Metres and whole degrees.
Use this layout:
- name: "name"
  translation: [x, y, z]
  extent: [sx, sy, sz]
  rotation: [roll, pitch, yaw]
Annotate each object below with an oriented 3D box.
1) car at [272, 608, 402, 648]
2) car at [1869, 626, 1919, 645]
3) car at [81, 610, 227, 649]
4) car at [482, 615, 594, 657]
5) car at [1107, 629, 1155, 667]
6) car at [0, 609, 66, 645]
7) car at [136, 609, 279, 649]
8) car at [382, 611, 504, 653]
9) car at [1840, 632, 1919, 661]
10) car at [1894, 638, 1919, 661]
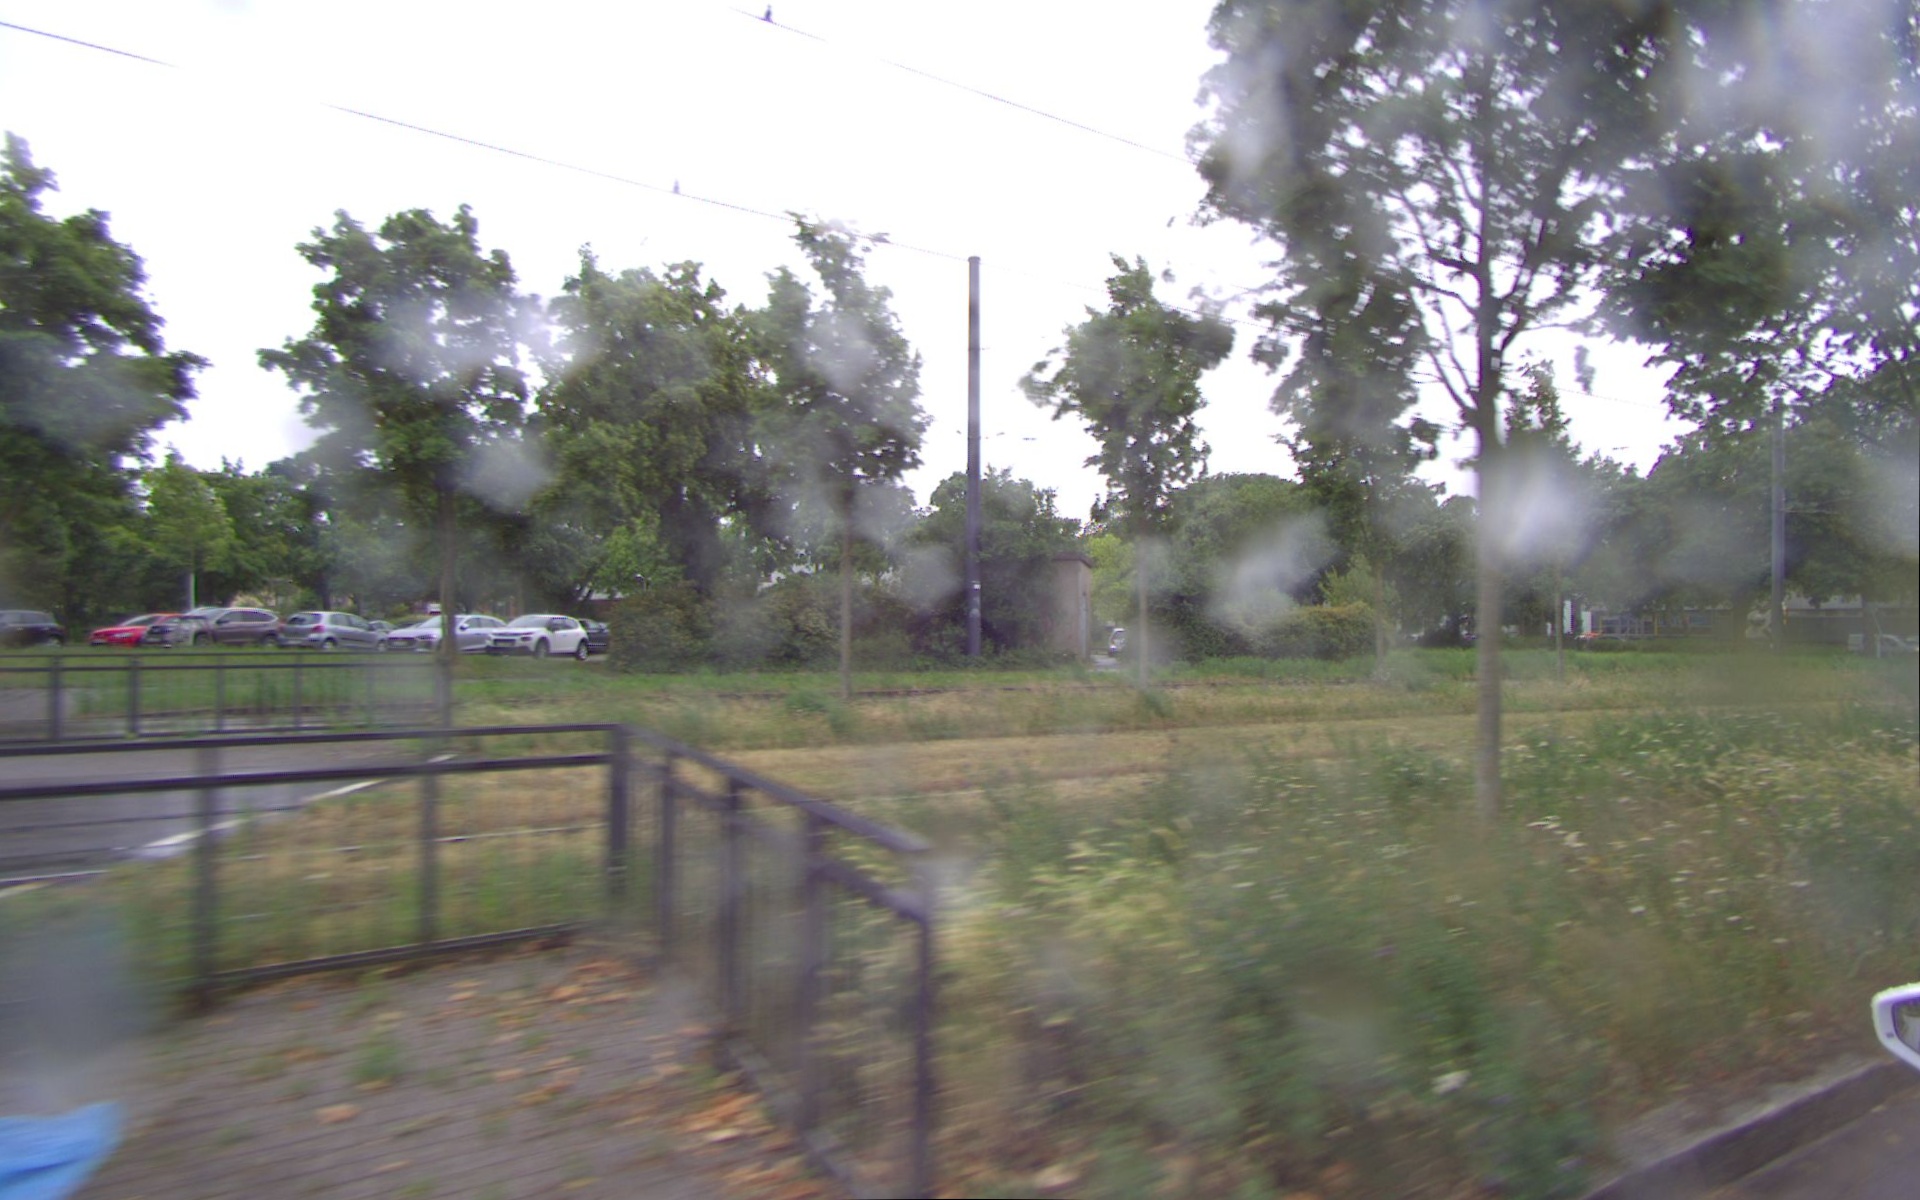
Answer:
- name: "car"
  translation: [-21.069, 0.970, 34.147]
  extent: [1.631, 1.265, 3.745]
  rotation: [0, -2, 10]
- name: "car"
  translation: [72.157, 2.703, 76.581]
  extent: [1.519, 1.439, 3.972]
  rotation: [1, -2, -27]
- name: "car"
  translation: [-27.680, 1.030, 34.642]
  extent: [1.631, 1.265, 3.745]
  rotation: [0, -2, 10]
- name: "car"
  translation: [-13.440, 1.145, 32.232]
  extent: [1.632, 1.265, 3.745]
  rotation: [0, -2, 7]
- name: "car"
  translation: [9.617, 2.656, 56.222]
  extent: [1.961, 2.040, 4.000]
  rotation: [0, -2, 21]
- name: "car"
  translation: [-34.918, 0.983, 36.241]
  extent: [1.631, 1.265, 3.745]
  rotation: [0, -2, 10]
- name: "car"
  translation: [-25.320, 1.004, 33.965]
  extent: [1.631, 1.265, 3.745]
  rotation: [0, -2, 10]
- name: "car"
  translation: [-16.551, 1.035, 32.365]
  extent: [1.632, 1.265, 3.745]
  rotation: [0, -2, 7]
- name: "car"
  translation: [62.513, 3.115, 67.908]
  extent: [1.629, 1.820, 4.199]
  rotation: [0, -1, -24]
- name: "car"
  translation: [66.232, 3.366, 68.140]
  extent: [1.631, 1.518, 3.892]
  rotation: [0, -1, -28]
